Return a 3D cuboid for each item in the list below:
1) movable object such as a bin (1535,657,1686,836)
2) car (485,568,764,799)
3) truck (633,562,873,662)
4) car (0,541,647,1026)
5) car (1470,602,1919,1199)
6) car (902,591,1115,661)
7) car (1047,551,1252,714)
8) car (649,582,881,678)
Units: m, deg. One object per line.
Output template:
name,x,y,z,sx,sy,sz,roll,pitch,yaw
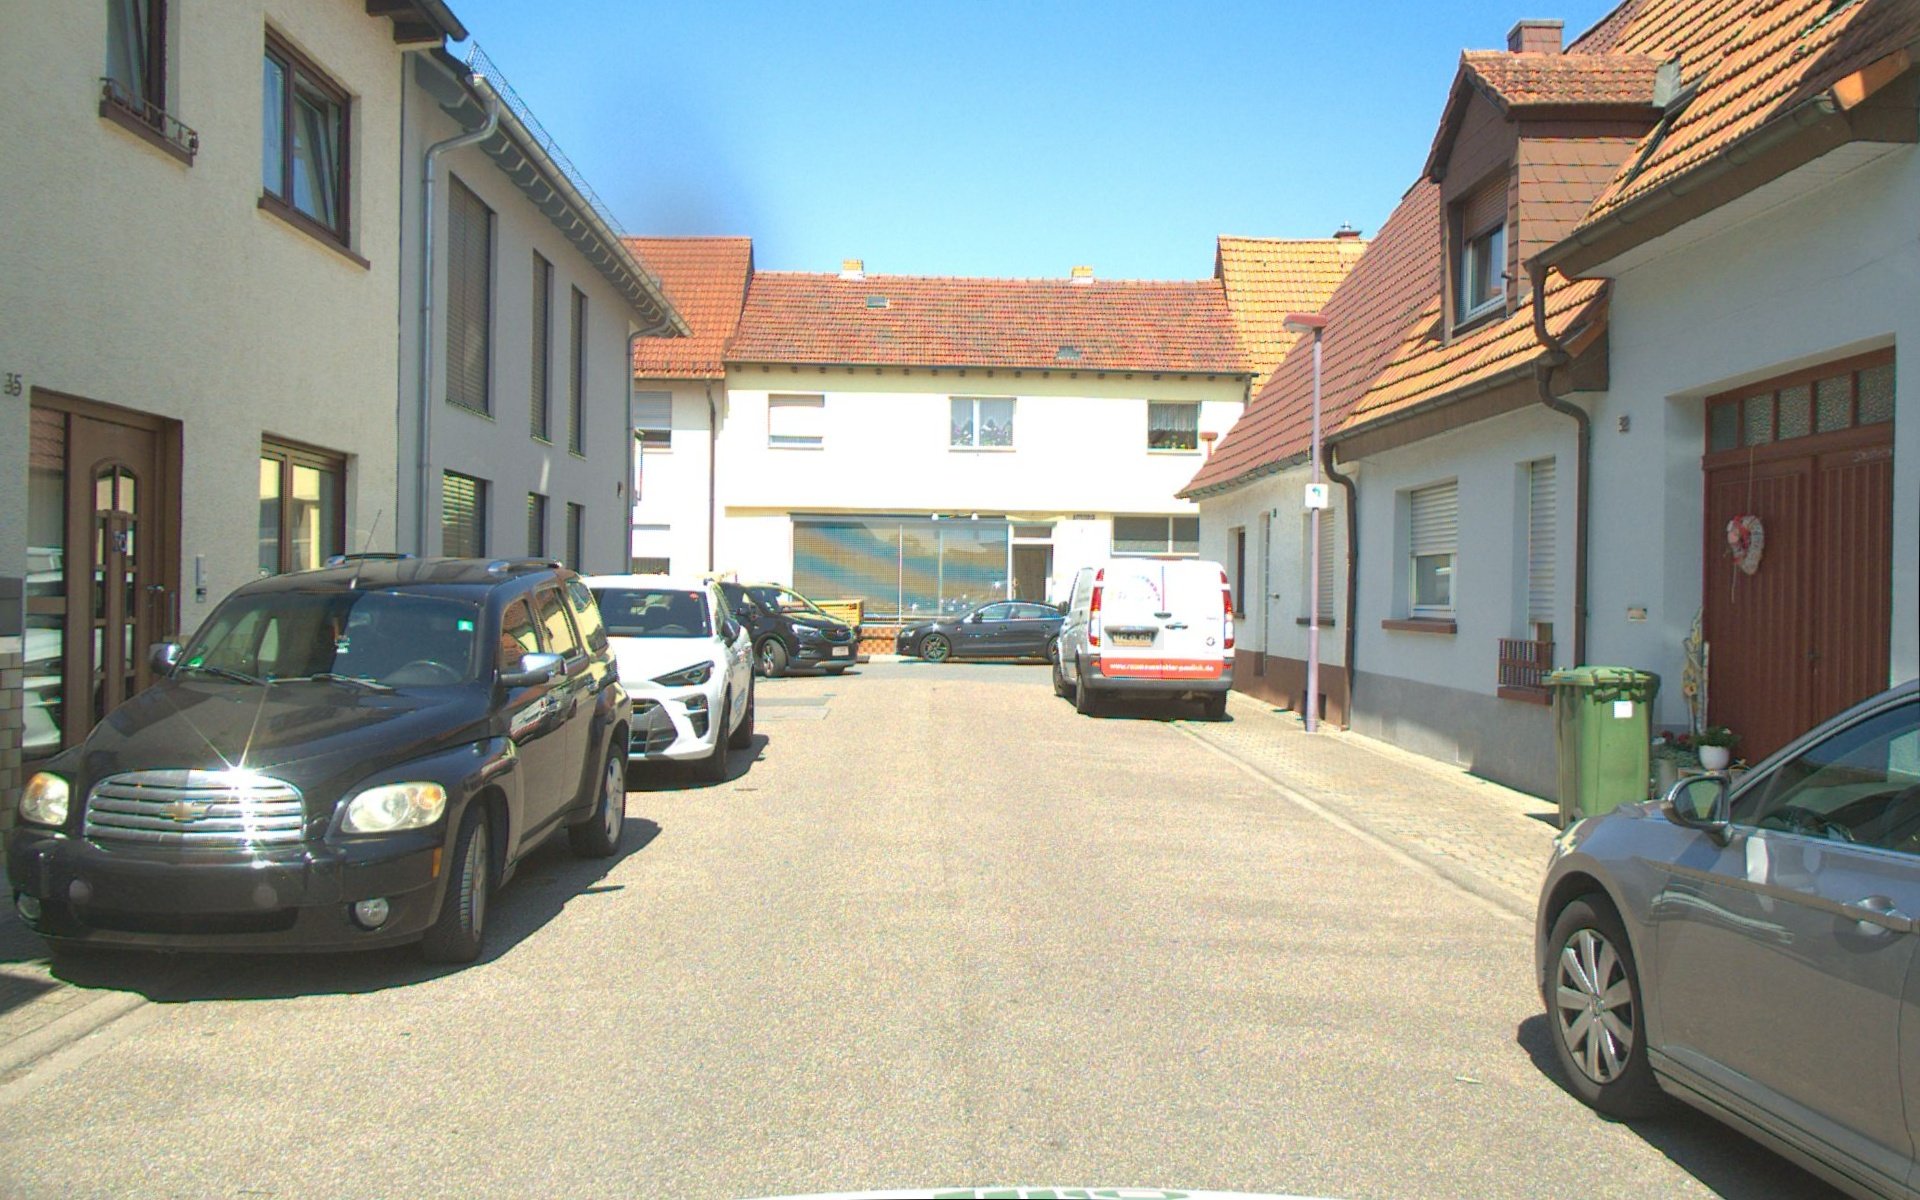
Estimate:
movable object such as a bin,4.252,0.940,10.855,0.645,1.090,0.812,0,0,-3
car,-2.681,0.594,14.134,1.739,1.643,4.346,-1,0,-4
truck,-4.426,0.256,36.106,4.960,2.049,2.189,1,0,-1
car,-2.687,0.622,7.663,1.687,1.643,3.989,-1,0,0
car,2.820,0.776,3.511,1.802,1.473,4.774,1,0,-3
car,1.014,0.591,36.345,4.524,1.419,1.927,1,-3,-3
car,2.363,0.374,22.051,1.972,1.871,5.264,1,0,-1
car,-3.606,0.510,30.193,4.198,1.610,1.755,0,1,38
